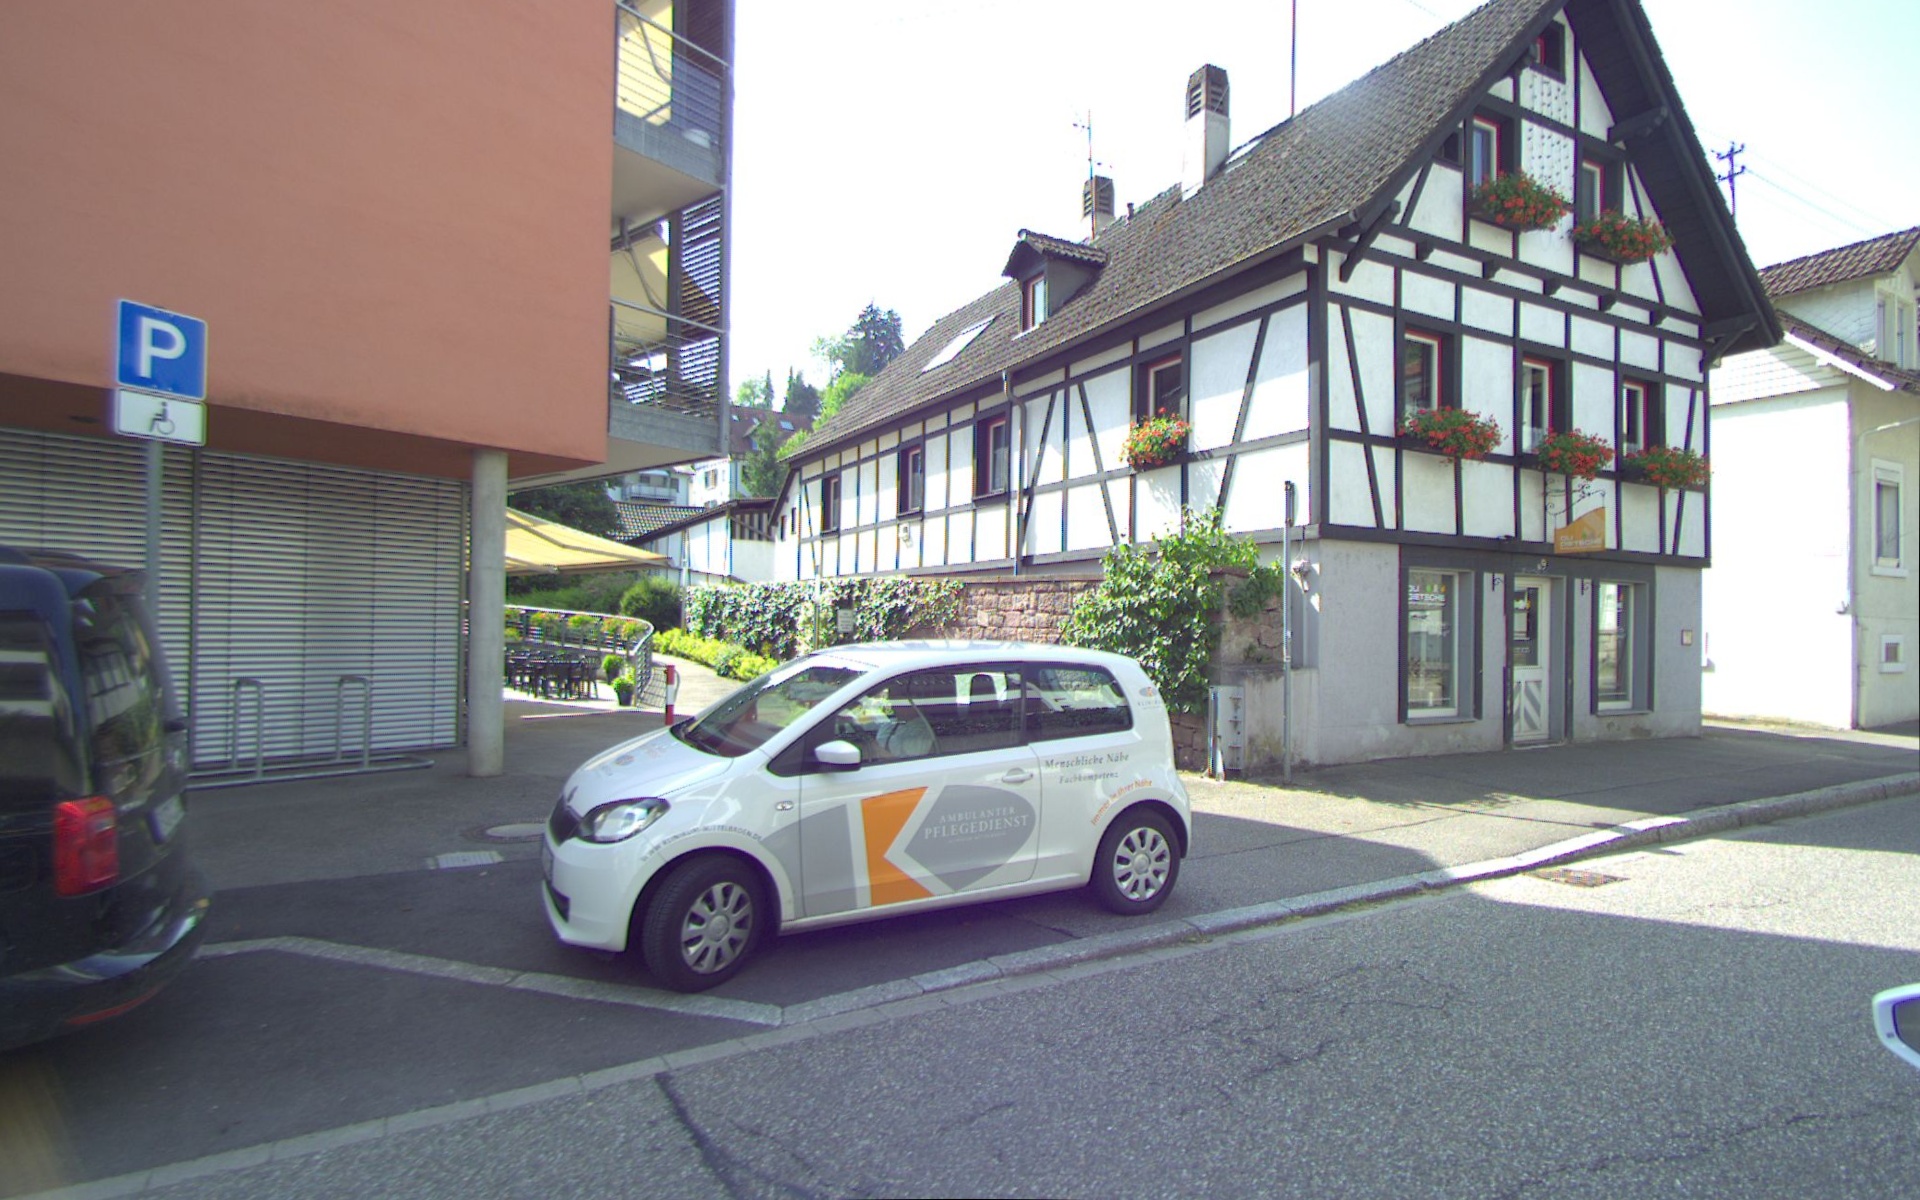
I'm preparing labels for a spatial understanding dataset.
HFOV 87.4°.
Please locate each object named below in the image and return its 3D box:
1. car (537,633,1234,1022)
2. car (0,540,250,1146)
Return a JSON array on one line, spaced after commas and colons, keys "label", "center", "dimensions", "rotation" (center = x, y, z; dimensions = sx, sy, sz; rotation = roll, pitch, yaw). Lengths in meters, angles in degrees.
[{"label": "car", "center": [-0.369, 0.961, 5.602], "dimensions": [3.525, 1.451, 1.659], "rotation": [0, 1, -30]}, {"label": "car", "center": [-4.697, 0.715, 2.872], "dimensions": [4.222, 1.820, 1.710], "rotation": [1, -1, -33]}]
